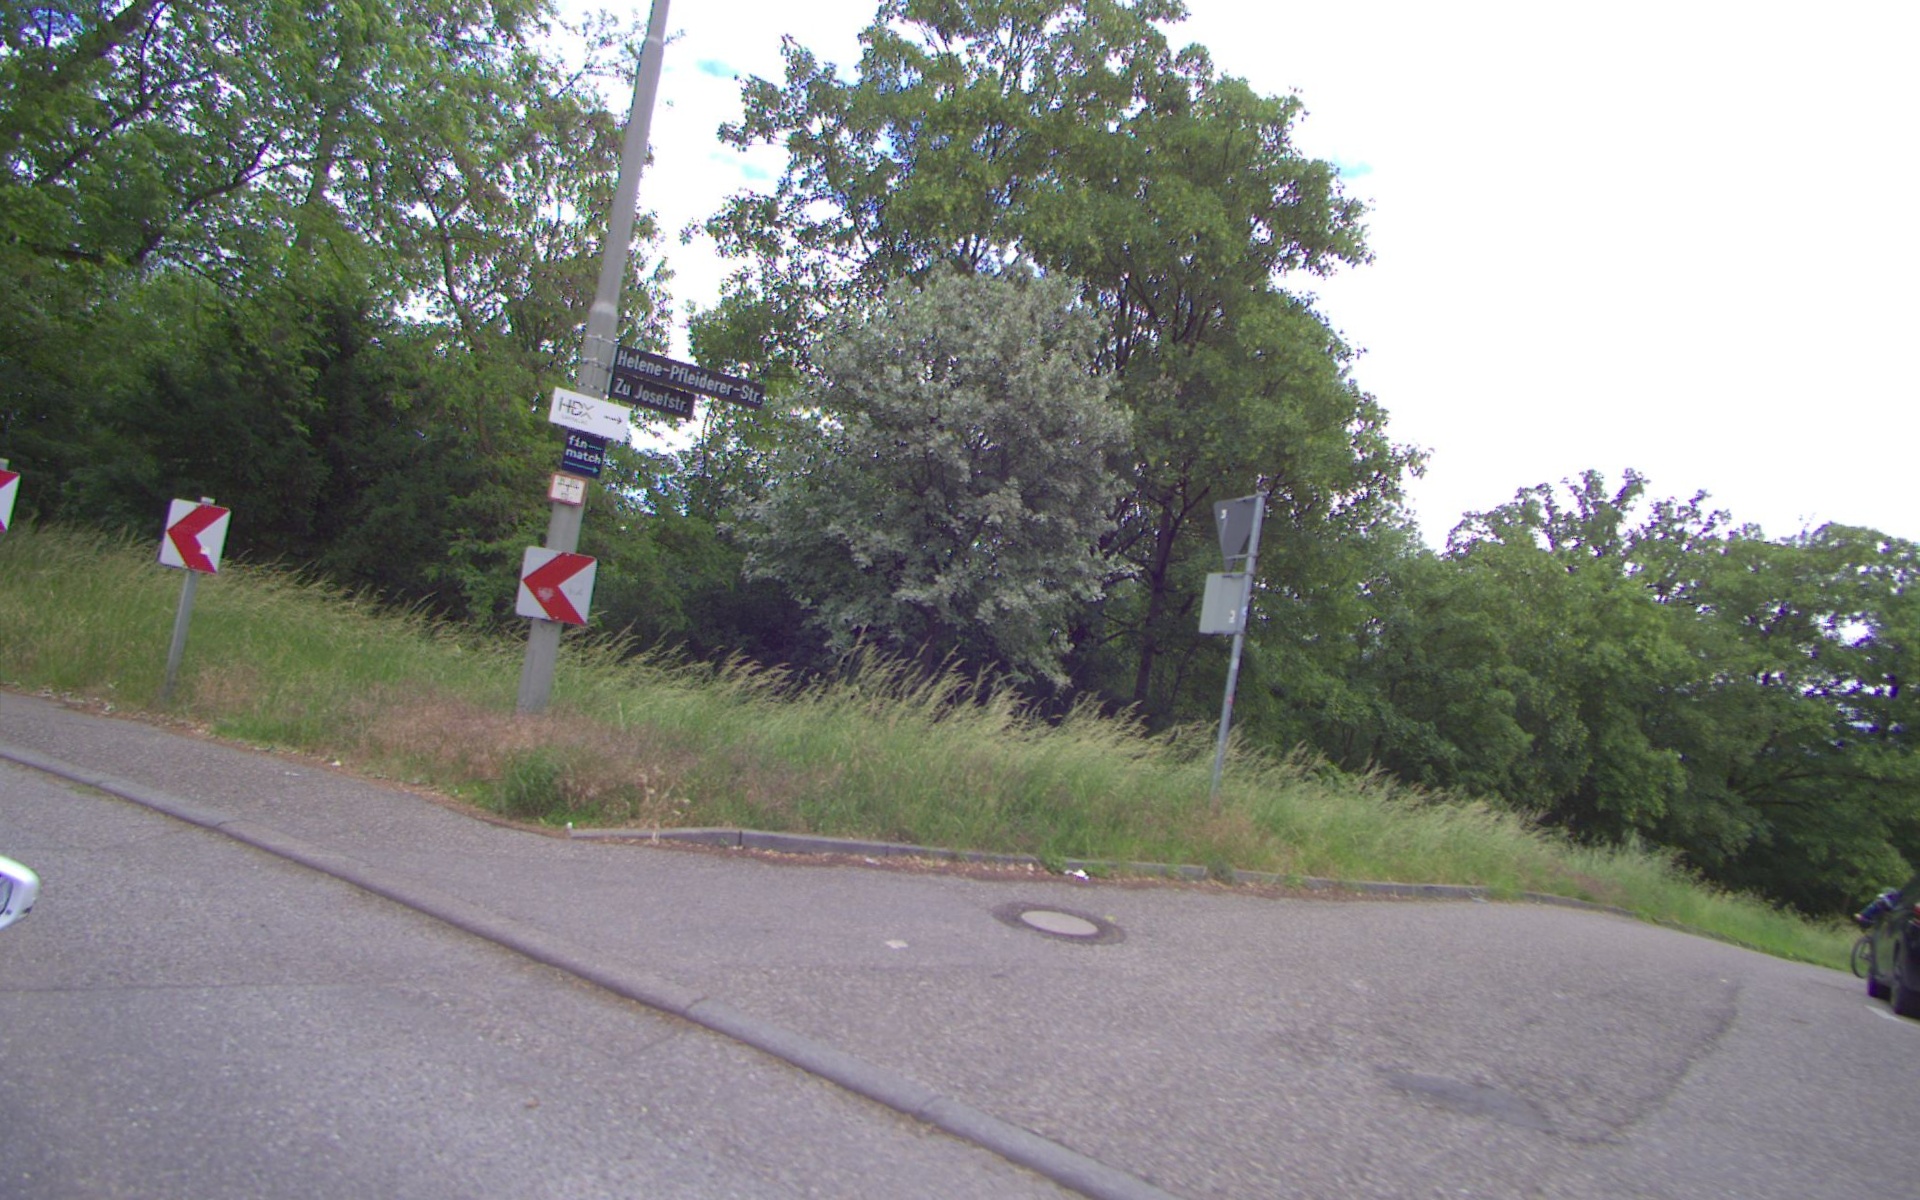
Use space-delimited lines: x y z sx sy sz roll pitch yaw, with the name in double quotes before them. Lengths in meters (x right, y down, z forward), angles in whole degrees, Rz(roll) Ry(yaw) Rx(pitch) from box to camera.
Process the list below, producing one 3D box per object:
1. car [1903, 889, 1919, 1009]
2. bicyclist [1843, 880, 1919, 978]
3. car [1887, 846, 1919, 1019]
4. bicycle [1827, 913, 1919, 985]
"car" 12.807 4.509 12.438 1.531 1.339 3.593 5 -10 45
"bicyclist" 17.619 6.259 19.176 0.952 1.602 0.762 10 -3 -26
"car" 9.866 3.280 9.244 1.807 1.409 3.668 5 -10 43
"bicycle" 17.559 6.648 19.155 2.170 1.082 0.761 11 -4 -26
